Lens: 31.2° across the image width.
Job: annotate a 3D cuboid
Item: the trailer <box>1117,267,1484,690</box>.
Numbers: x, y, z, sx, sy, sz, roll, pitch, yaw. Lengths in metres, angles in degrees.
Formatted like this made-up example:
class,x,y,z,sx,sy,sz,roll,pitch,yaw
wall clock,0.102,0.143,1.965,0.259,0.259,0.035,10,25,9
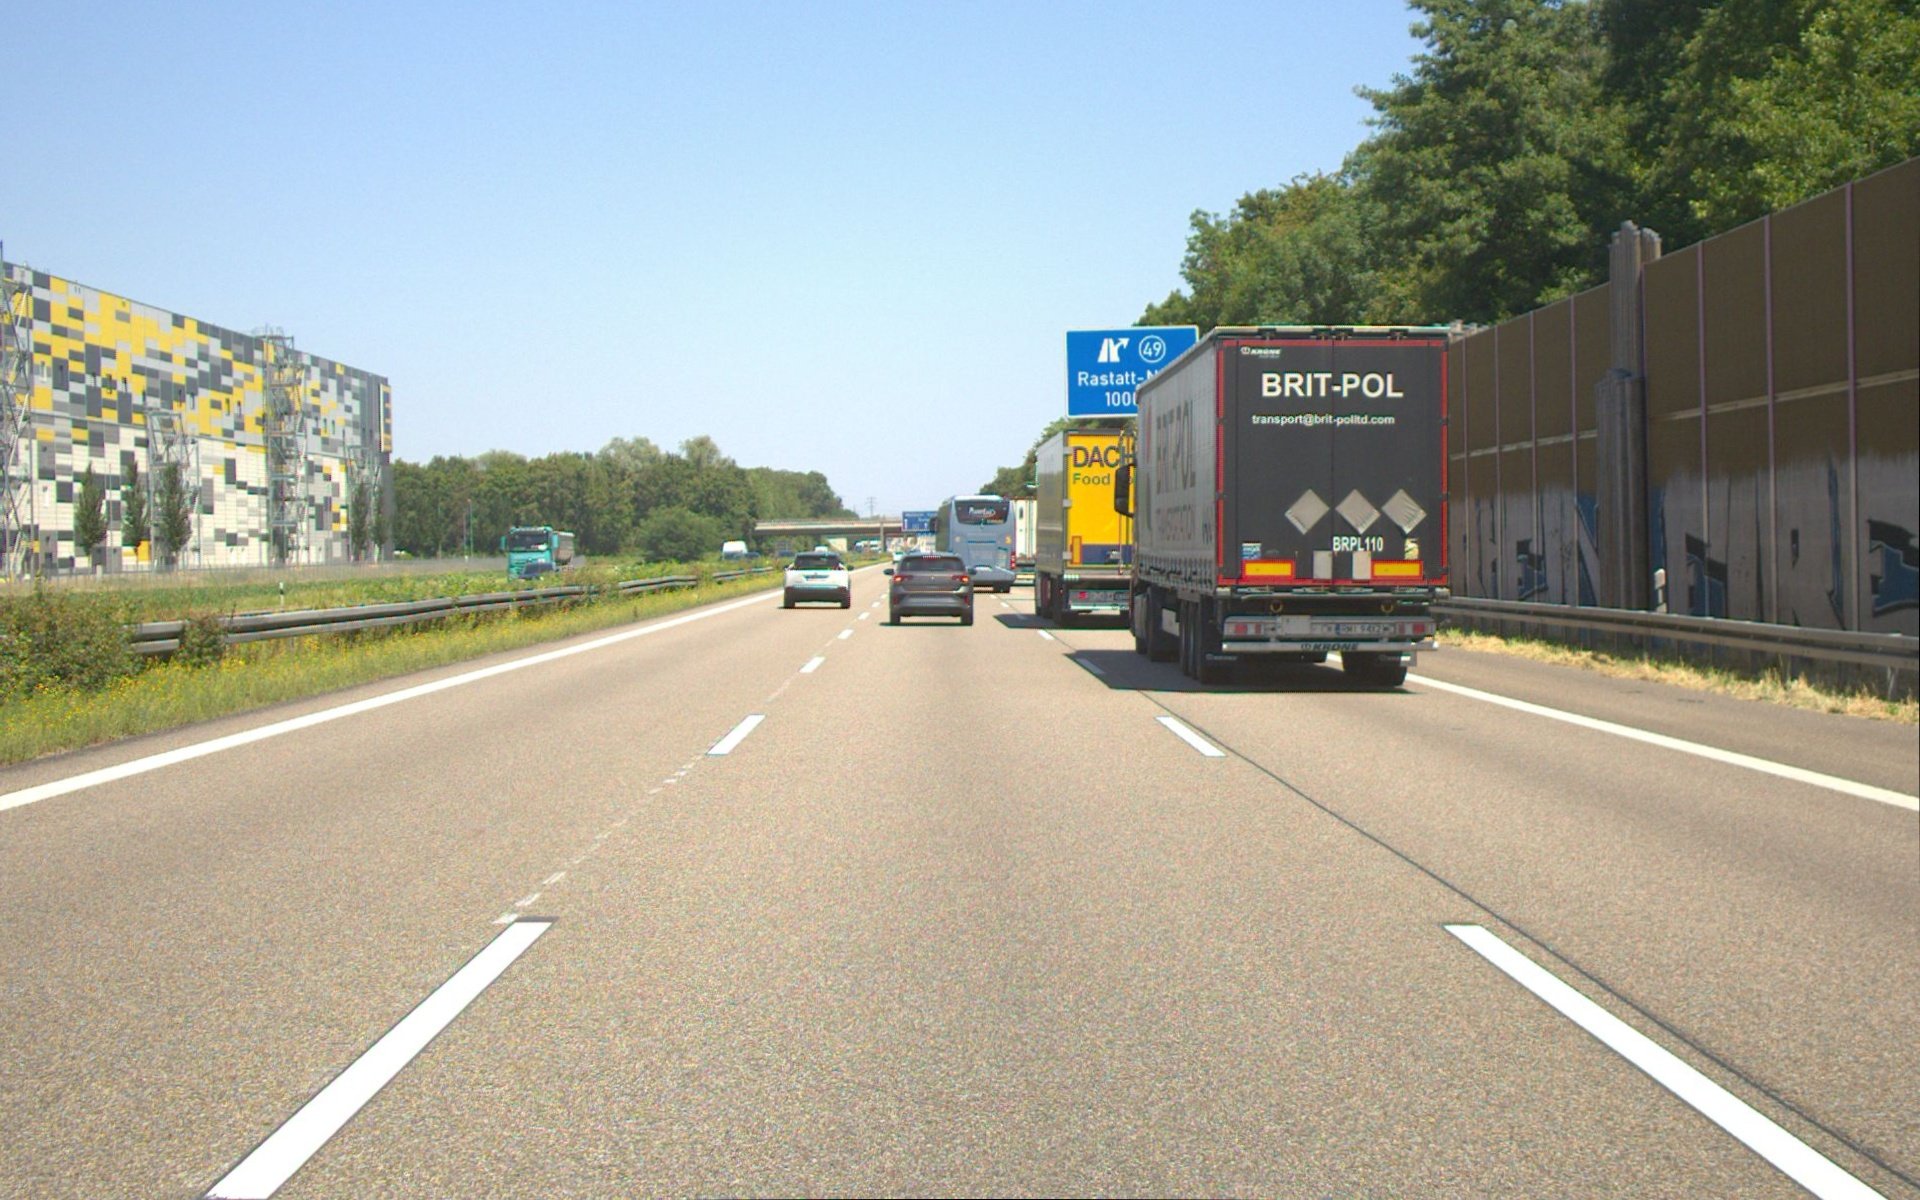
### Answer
class,x,y,z,sx,sy,sz,roll,pitch,yaw
trailer,3.970,-1.384,44.107,3.106,4.491,14.897,0,1,0

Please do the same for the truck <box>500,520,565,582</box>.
class,x,y,z,sx,sy,sz,roll,pitch,yaw
truck,-22.702,-2.583,182.671,2.697,3.239,5.838,-1,1,0

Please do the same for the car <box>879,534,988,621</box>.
class,x,y,z,sx,sy,sz,roll,pitch,yaw
car,-0.585,-0.506,73.931,2.216,1.784,5.393,-1,1,-1

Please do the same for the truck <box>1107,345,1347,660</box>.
class,x,y,z,sx,sy,sz,roll,pitch,yaw
truck,3.900,-1.406,51.622,3.087,4.425,6.053,0,0,0

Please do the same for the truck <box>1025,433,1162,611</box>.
class,x,y,z,sx,sy,sz,roll,pitch,yaw
truck,3.075,-1.807,80.809,2.813,3.993,6.645,0,1,-1

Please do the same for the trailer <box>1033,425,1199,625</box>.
class,x,y,z,sx,sy,sz,roll,pitch,yaw
trailer,3.209,-1.589,73.795,2.834,3.940,11.685,0,1,-1

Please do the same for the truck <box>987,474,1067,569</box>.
class,x,y,z,sx,sy,sz,roll,pitch,yaw
truck,2.969,-3.513,155.728,3.423,4.112,9.564,-1,1,0

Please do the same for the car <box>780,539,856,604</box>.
class,x,y,z,sx,sy,sz,roll,pitch,yaw
car,-3.840,-0.791,93.599,1.993,1.722,4.131,0,1,-1

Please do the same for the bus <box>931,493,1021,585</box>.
class,x,y,z,sx,sy,sz,roll,pitch,yaw
bus,0.551,-2.304,130.380,3.062,3.315,8.275,-1,1,-2

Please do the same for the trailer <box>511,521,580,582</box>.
class,x,y,z,sx,sy,sz,roll,pitch,yaw
trailer,-22.668,-2.654,188.439,2.675,3.226,9.259,0,1,0

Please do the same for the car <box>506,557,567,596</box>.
class,x,y,z,sx,sy,sz,roll,pitch,yaw
car,-18.794,-1.054,152.893,1.993,1.634,5.663,-1,1,0
